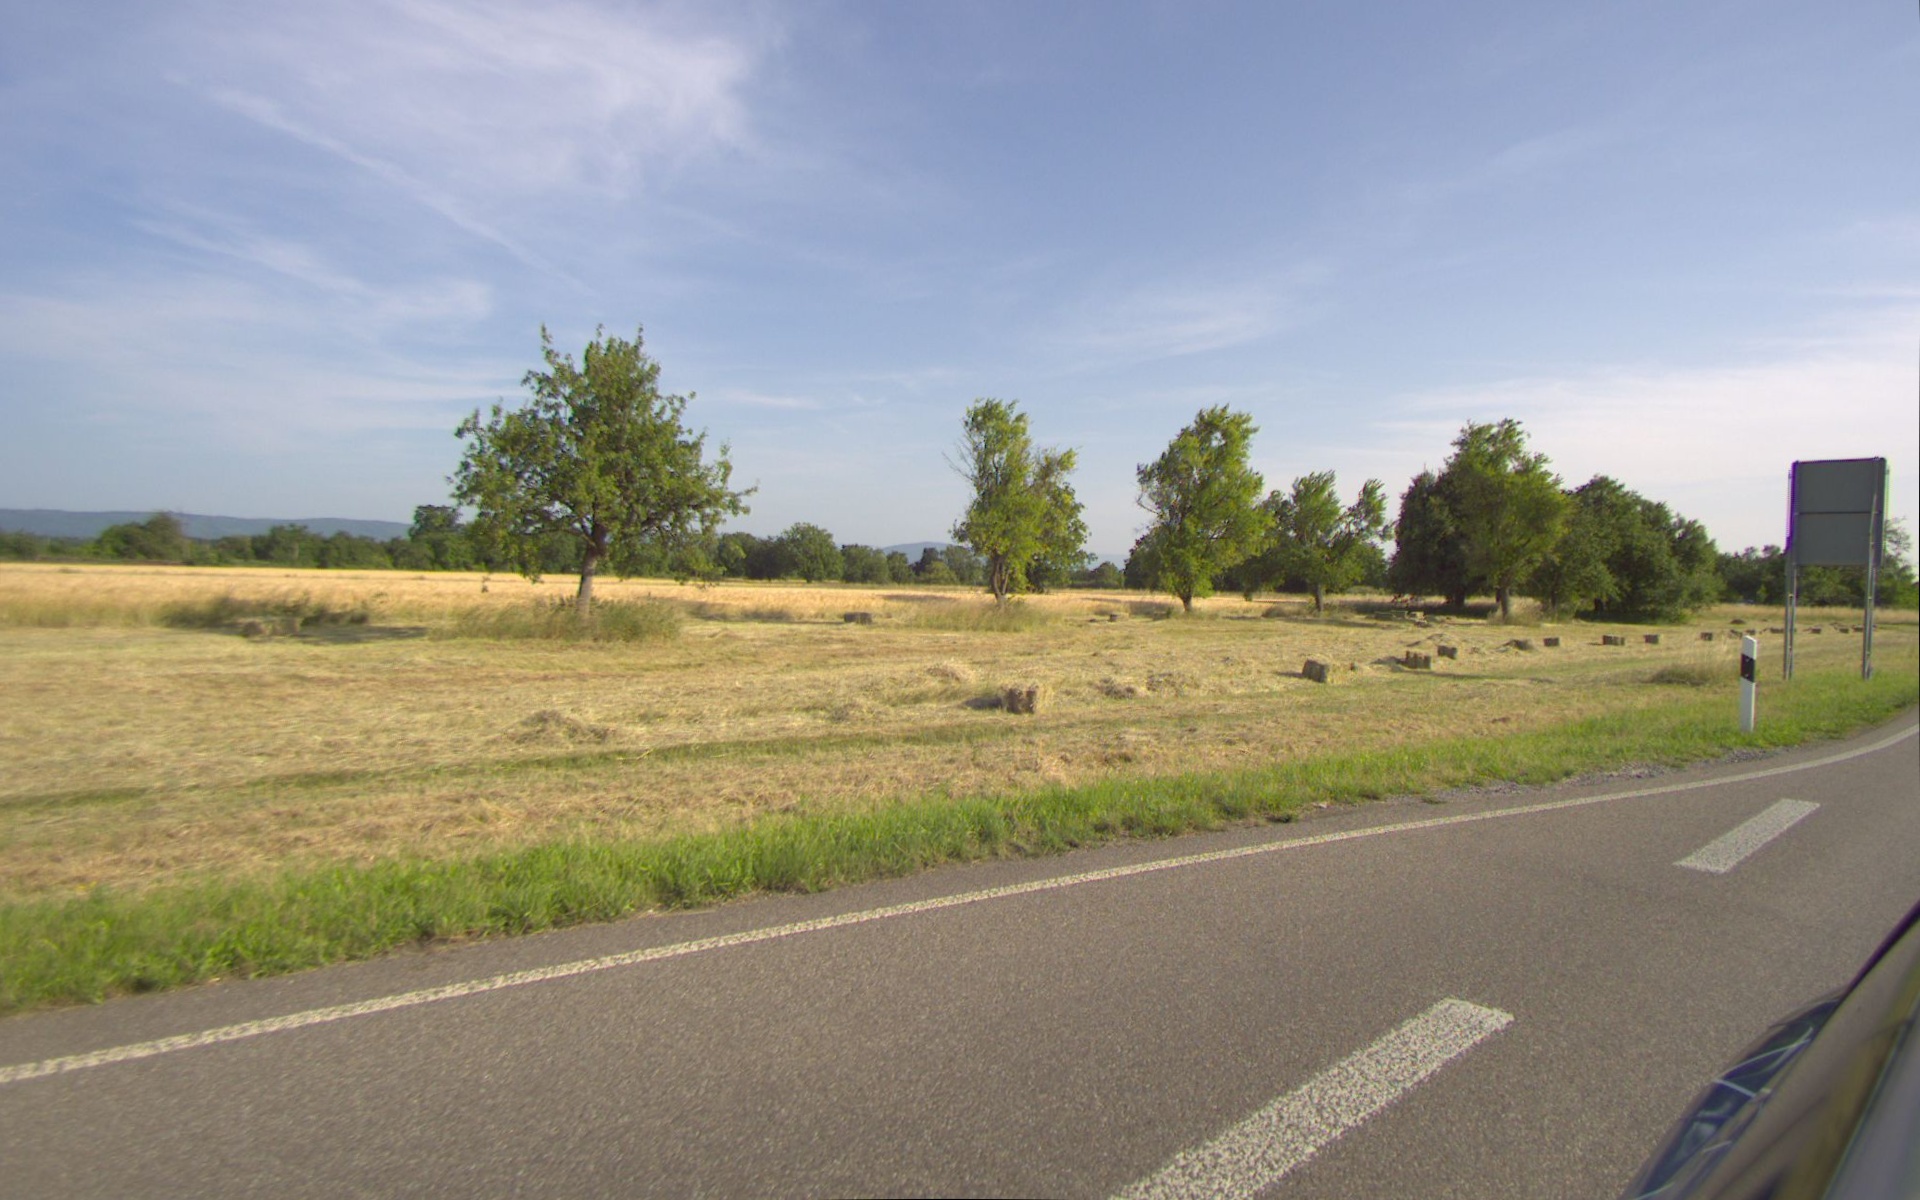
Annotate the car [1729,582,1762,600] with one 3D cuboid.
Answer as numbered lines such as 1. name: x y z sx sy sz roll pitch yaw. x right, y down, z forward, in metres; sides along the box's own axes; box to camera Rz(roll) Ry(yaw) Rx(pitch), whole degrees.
1. car: 81.220 -0.930 104.665 3.930 1.772 1.997 0 0 -41
